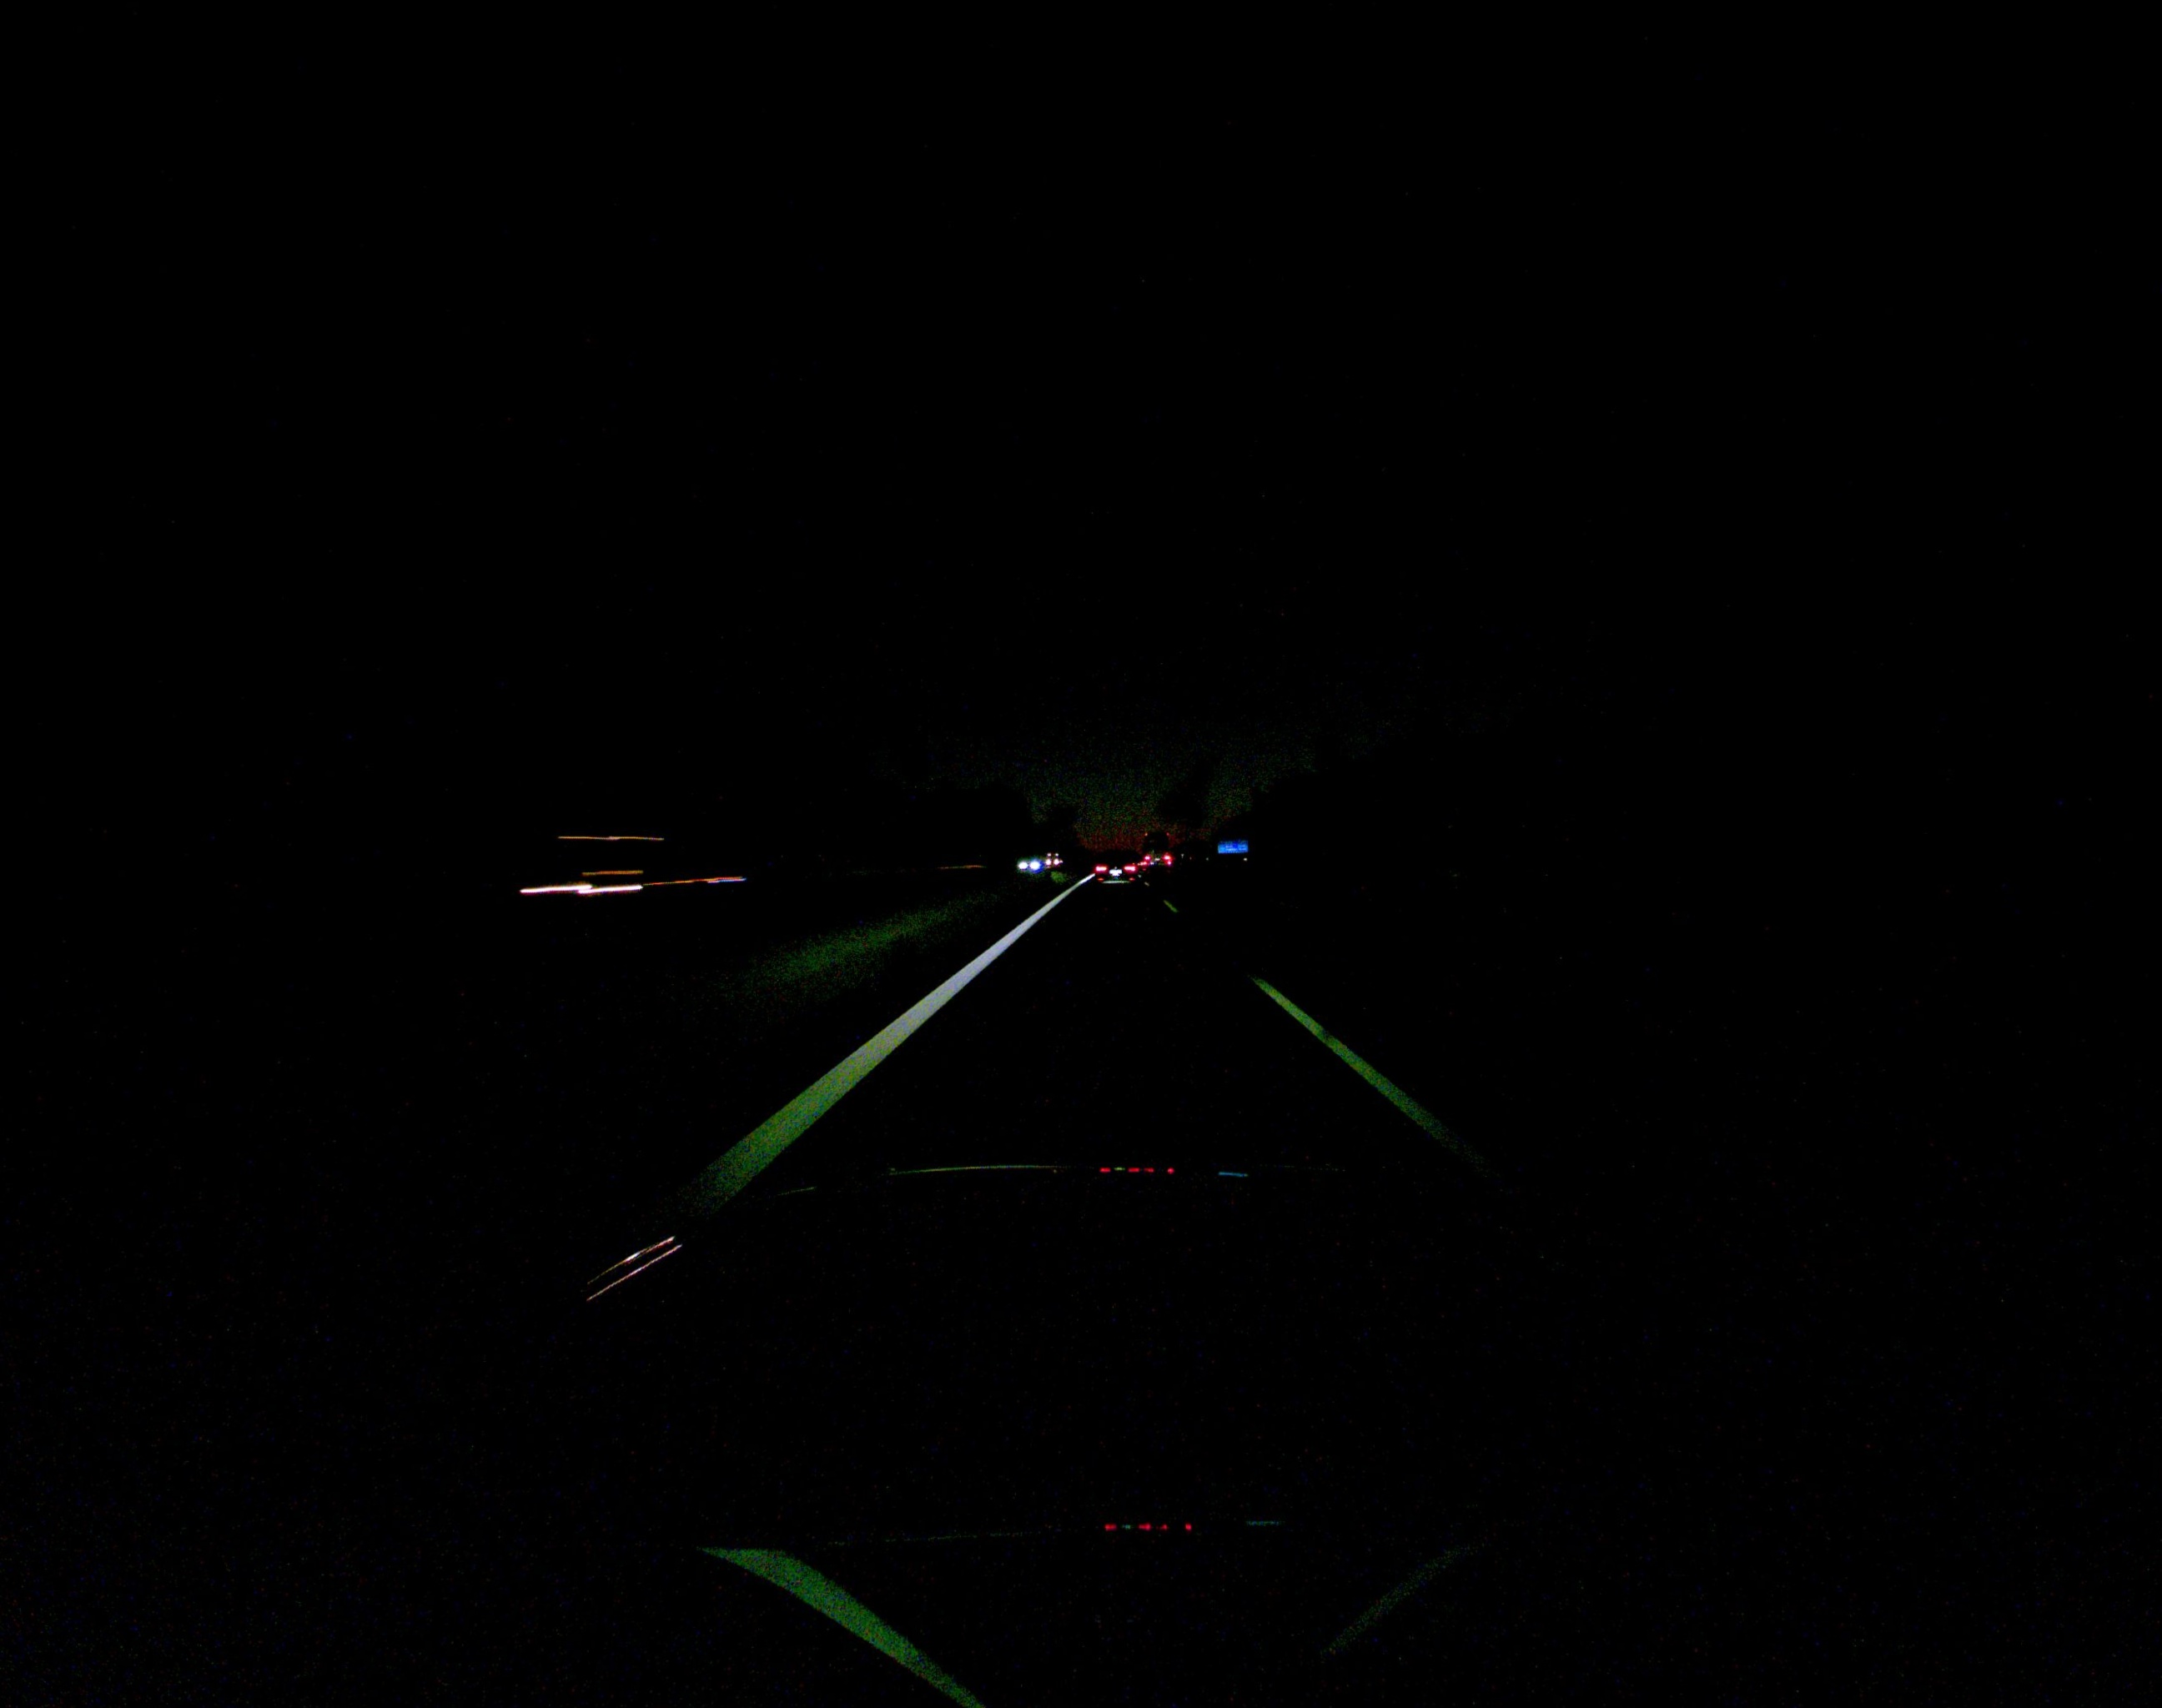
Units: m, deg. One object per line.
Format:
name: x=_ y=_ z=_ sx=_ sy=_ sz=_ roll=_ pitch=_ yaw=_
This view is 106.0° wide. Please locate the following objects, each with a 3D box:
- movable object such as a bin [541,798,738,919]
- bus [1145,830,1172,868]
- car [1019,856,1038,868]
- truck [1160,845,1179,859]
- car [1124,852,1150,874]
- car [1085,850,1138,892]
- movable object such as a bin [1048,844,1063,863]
movable object such as a bin: x=-14.222 y=0.132 z=27.034 sx=2.199 sy=3.417 sz=7.441 roll=-1 pitch=0 yaw=2
bus: x=8.943 y=-0.397 z=95.417 sx=2.640 sy=3.994 sz=14.716 roll=-3 pitch=-1 yaw=4
car: x=-6.476 y=1.018 z=101.411 sx=1.926 sy=1.453 sz=4.455 roll=-1 pitch=0 yaw=2
truck: x=19.754 y=-0.428 z=181.852 sx=2.541 sy=3.016 sz=9.039 roll=0 pitch=0 yaw=-4
car: x=4.581 y=0.785 z=67.452 sx=1.904 sy=1.730 sz=4.001 roll=2 pitch=-1 yaw=1
car: x=1.339 y=0.734 z=35.391 sx=2.097 sy=1.618 sz=4.206 roll=-3 pitch=-2 yaw=2
movable object such as a bin: x=-5.149 y=-0.080 z=167.144 sx=2.283 sy=3.769 sz=7.694 roll=-1 pitch=0 yaw=4
